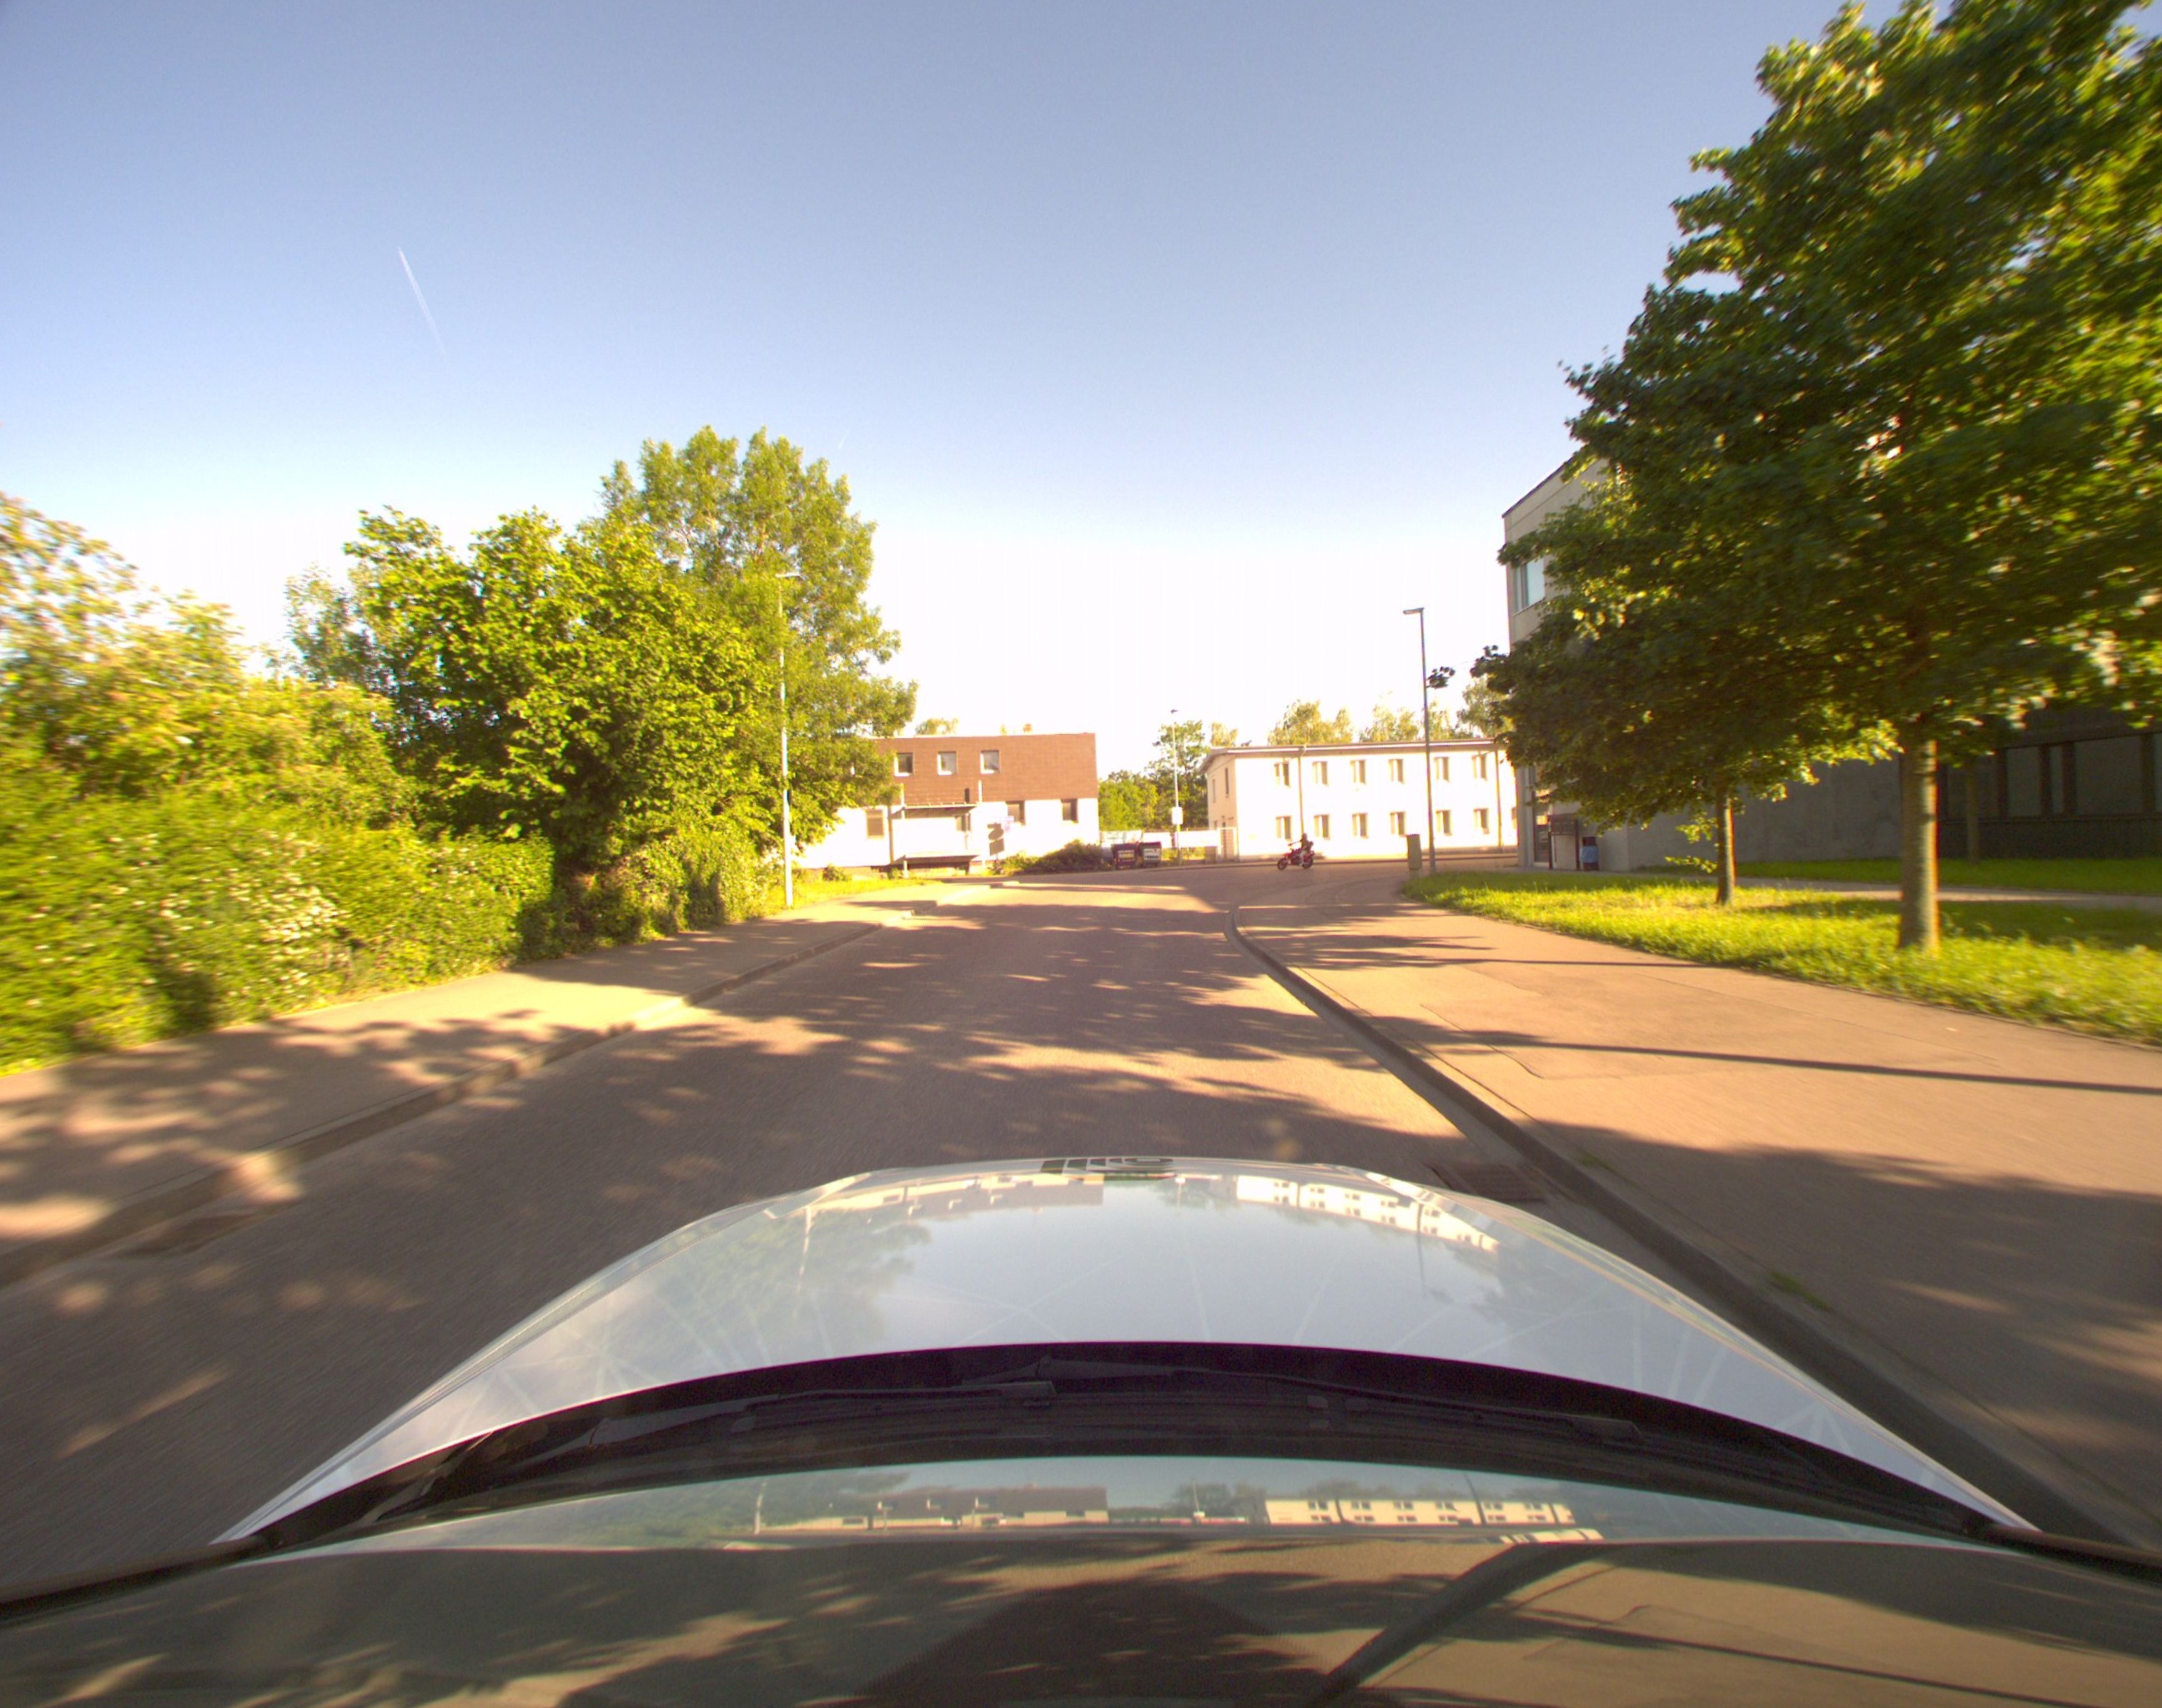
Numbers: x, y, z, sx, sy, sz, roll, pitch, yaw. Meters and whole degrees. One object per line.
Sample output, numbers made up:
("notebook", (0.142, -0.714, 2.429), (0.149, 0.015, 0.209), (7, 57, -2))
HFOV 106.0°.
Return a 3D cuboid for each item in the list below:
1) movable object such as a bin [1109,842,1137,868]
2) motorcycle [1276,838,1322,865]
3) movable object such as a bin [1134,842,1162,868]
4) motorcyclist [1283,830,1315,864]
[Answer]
("movable object such as a bin", (2.277, 0.053, 44.461), (1.363, 1.418, 1.063), (0, 0, -6))
("motorcycle", (10.103, -0.107, 37.660), (2.045, 1.186, 0.952), (-2, 1, -35))
("movable object such as a bin", (3.677, 0.050, 44.778), (1.363, 1.418, 1.063), (0, 0, -6))
("motorcyclist", (10.076, -0.327, 37.634), (0.902, 1.553, 1.020), (1, 3, -35))
